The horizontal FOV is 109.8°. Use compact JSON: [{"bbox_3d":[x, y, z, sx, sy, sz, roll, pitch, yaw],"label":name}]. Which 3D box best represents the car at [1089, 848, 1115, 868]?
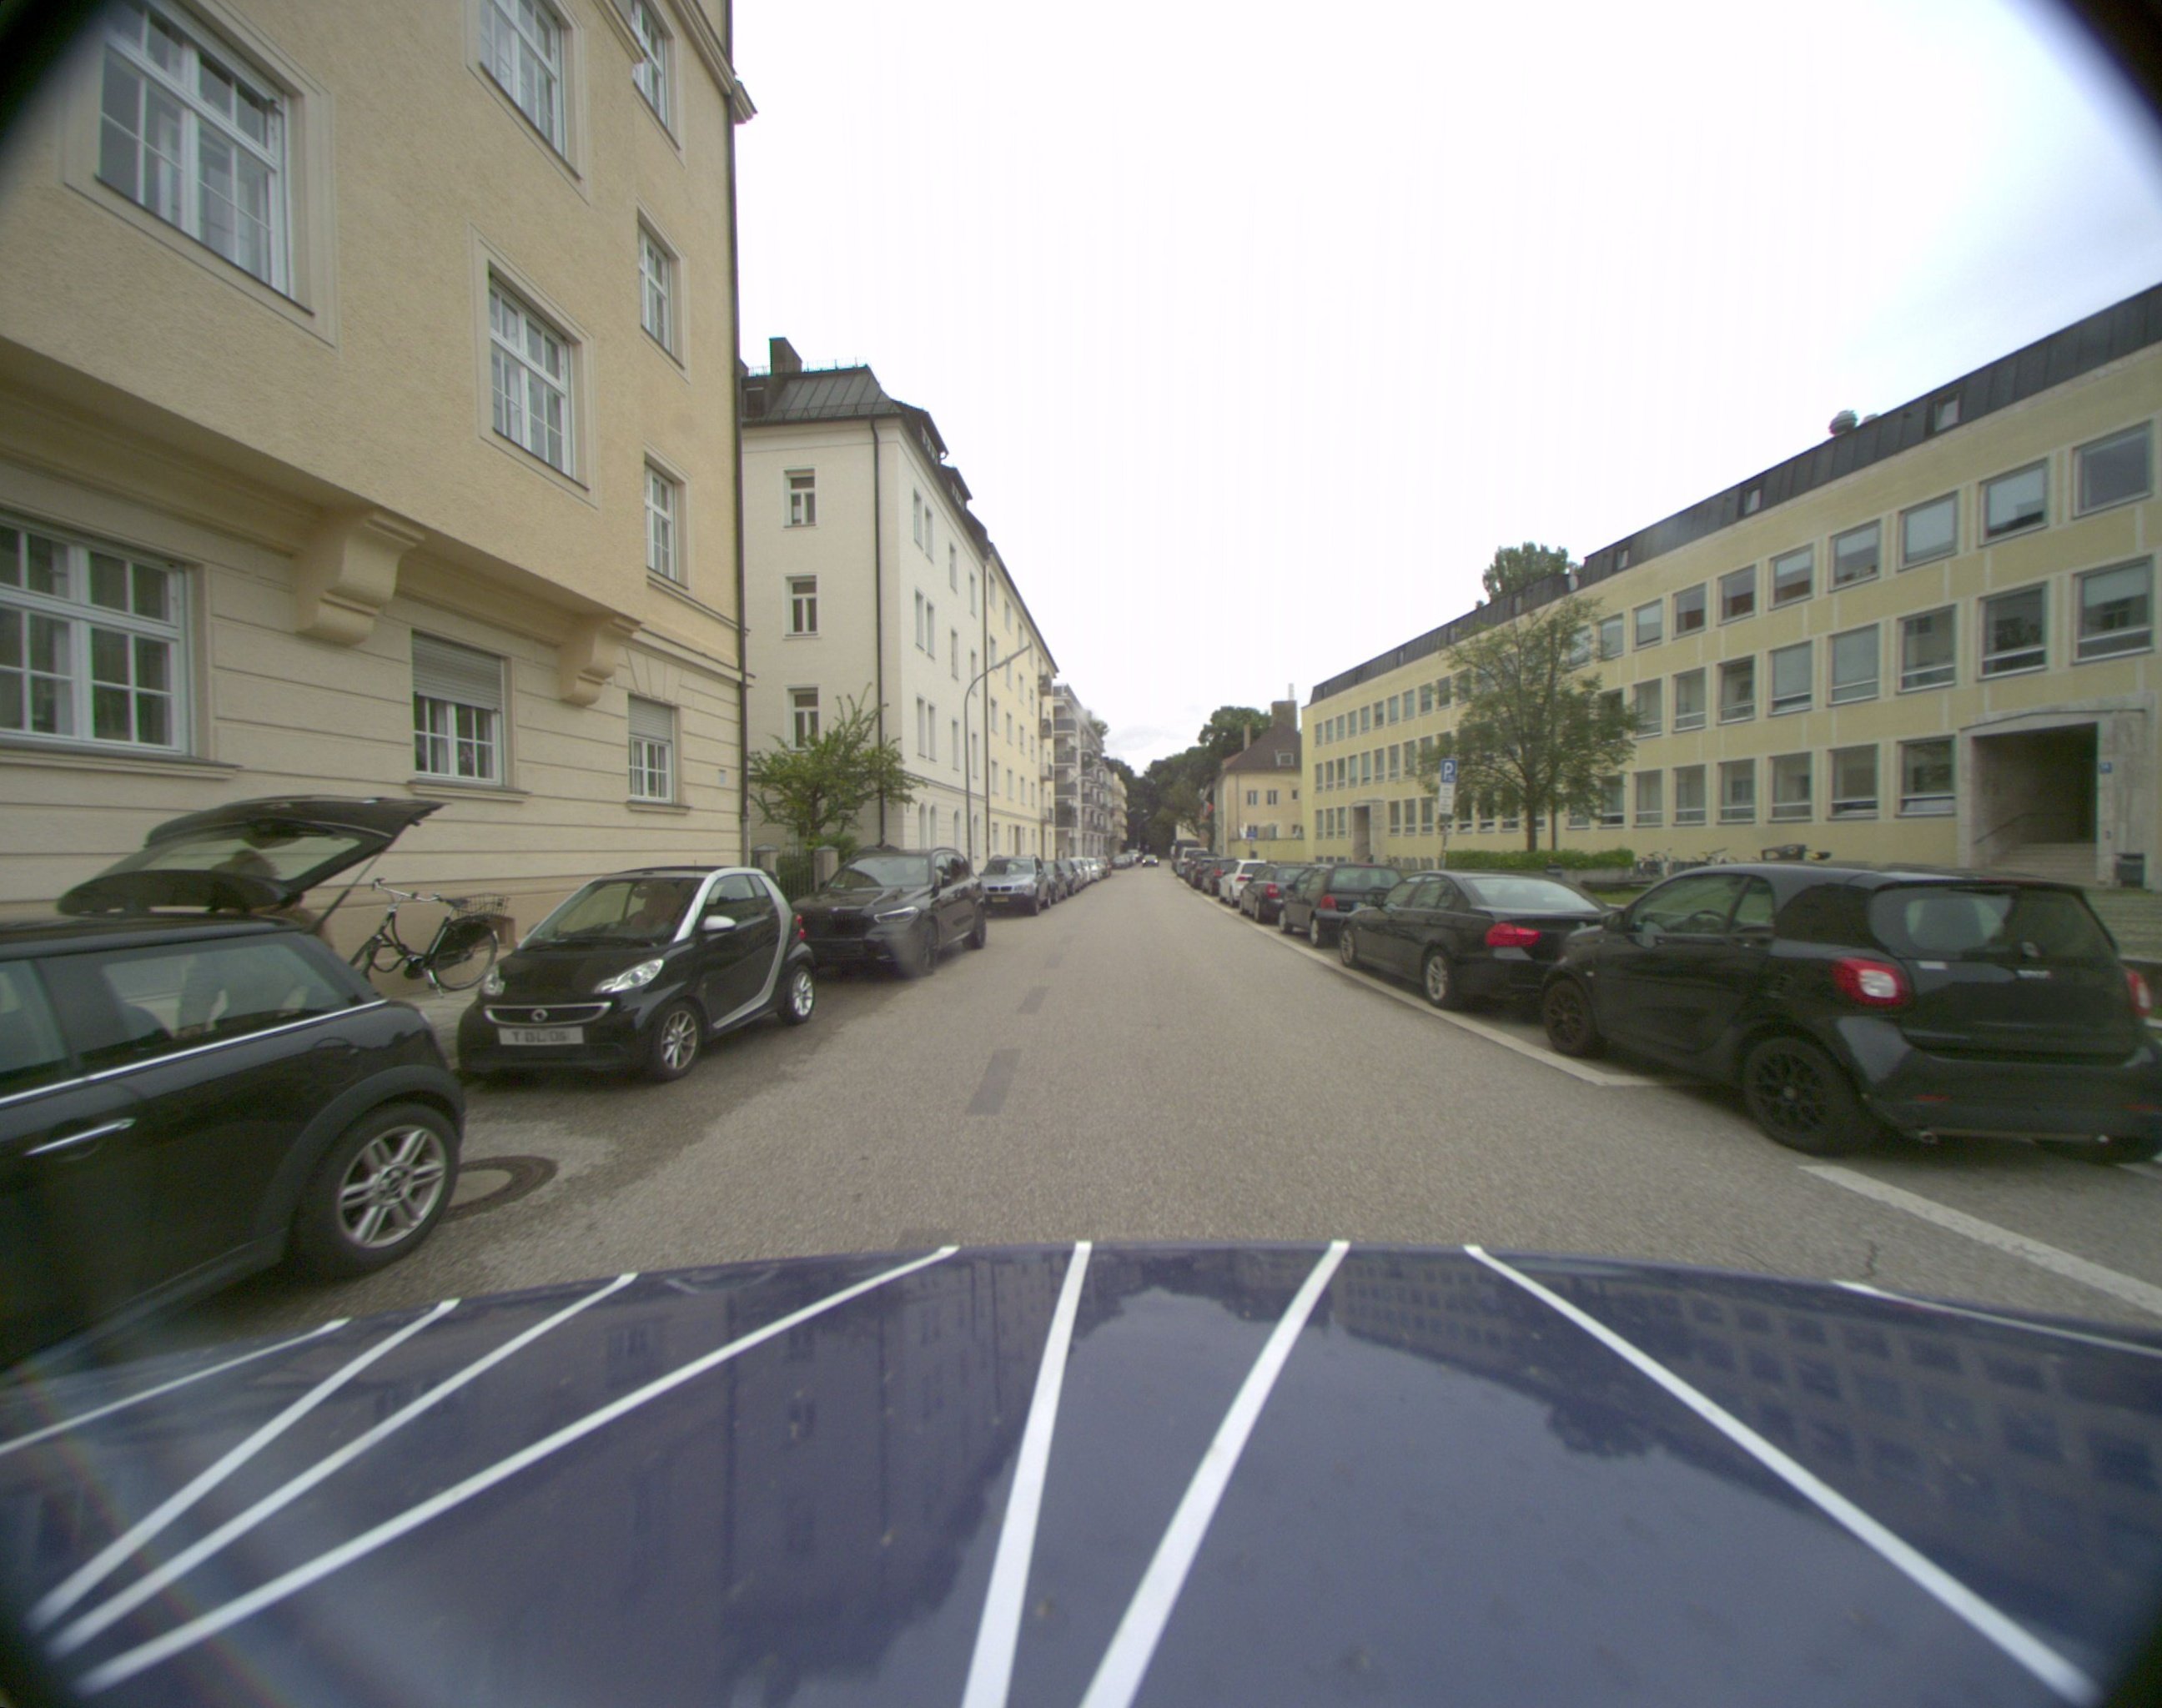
[{"bbox_3d":[1.617,0.309,57.518,1.658,1.421,3.757,-2,0,5],"label":"car"}]

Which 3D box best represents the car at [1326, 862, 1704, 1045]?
[{"bbox_3d":[4.427,0.876,8.728,1.778,1.457,4.466,1,1,0],"label":"car"}]

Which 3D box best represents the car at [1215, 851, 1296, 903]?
[{"bbox_3d":[5.382,0.659,23.933,1.745,1.414,4.294,1,1,3],"label":"car"}]

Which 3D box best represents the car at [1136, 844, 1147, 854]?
[{"bbox_3d":[10.714,-0.888,134.235,1.770,1.607,4.264,-1,0,6],"label":"car"}]

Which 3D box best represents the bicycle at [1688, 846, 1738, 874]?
[{"bbox_3d":[22.950,0.222,27.600,1.609,0.939,0.502,-3,1,-13],"label":"bicycle"}]

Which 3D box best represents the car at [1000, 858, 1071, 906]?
[{"bbox_3d":[-1.494,0.928,26.494,1.831,1.441,4.085,-2,0,6],"label":"car"}]

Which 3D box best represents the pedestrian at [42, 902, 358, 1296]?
[{"bbox_3d":[-3.774,0.998,3.306,0.630,1.520,0.578,-2,1,4],"label":"pedestrian"}]

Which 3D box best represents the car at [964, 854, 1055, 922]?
[{"bbox_3d":[-1.918,0.863,21.756,1.850,1.654,4.499,-1,1,4],"label":"car"}]

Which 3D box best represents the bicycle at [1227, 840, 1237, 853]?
[{"bbox_3d":[14.190,-0.711,71.443,0.804,1.226,1.869,-1,1,6],"label":"bicycle"}]

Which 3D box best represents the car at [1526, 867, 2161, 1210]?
[{"bbox_3d":[4.473,0.866,4.882,1.523,1.457,2.886,1,1,0],"label":"car"}]

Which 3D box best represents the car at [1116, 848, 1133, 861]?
[{"bbox_3d":[4.917,0.044,85.790,1.620,1.458,3.748,-2,0,6],"label":"car"}]

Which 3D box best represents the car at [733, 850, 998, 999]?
[{"bbox_3d":[-2.897,0.852,11.696,2.174,1.729,5.025,-2,0,6],"label":"car"}]

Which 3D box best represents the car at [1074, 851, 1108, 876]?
[{"bbox_3d":[0.652,0.535,46.757,1.728,1.421,4.295,-2,0,5],"label":"car"}]

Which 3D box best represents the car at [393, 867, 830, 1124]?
[{"bbox_3d":[-3.520,0.941,6.364,1.517,1.546,3.020,-2,0,6],"label":"car"}]

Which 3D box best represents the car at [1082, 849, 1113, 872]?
[{"bbox_3d":[1.197,0.415,52.557,1.777,1.421,4.616,-2,0,5],"label":"car"}]

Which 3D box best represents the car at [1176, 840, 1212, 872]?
[{"bbox_3d":[7.377,0.105,50.101,1.919,1.948,4.962,1,0,4],"label":"car"}]

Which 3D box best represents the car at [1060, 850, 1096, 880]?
[{"bbox_3d":[-0.127,0.553,41.966,1.654,1.535,3.994,-2,0,3],"label":"car"}]

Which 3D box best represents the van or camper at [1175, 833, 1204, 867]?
[{"bbox_3d":[8.958,-0.325,63.021,2.297,2.636,5.563,1,1,7],"label":"van or camper"}]

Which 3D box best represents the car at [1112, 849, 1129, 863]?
[{"bbox_3d":[4.198,0.199,80.172,1.775,1.467,4.218,-1,0,4],"label":"car"}]

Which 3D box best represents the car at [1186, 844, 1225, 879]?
[{"bbox_3d":[6.493,0.351,39.916,1.718,1.680,4.142,1,1,5],"label":"car"}]

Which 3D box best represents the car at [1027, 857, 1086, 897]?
[{"bbox_3d":[-0.937,0.910,31.924,1.879,1.441,4.679,-2,0,5],"label":"car"}]

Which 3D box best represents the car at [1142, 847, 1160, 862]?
[{"bbox_3d":[7.988,0.054,86.324,1.998,1.521,4.002,-2,0,6],"label":"car"}]

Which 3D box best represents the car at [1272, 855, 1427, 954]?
[{"bbox_3d":[4.700,0.800,13.848,1.634,1.486,3.604,1,1,2],"label":"car"}]

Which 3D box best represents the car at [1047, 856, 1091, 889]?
[{"bbox_3d":[-0.529,0.860,36.791,1.728,1.441,4.188,-2,0,4],"label":"car"}]

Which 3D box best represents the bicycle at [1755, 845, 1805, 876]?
[{"bbox_3d":[23.213,0.204,25.233,1.610,0.939,0.502,-3,1,-18],"label":"bicycle"}]

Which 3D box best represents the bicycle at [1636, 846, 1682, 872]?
[{"bbox_3d":[22.703,0.177,29.855,1.609,0.939,0.502,-3,1,-13],"label":"bicycle"}]

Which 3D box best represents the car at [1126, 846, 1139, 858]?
[{"bbox_3d":[6.956,-0.343,102.629,1.668,1.459,4.376,-1,2,4],"label":"car"}]

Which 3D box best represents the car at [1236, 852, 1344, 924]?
[{"bbox_3d":[4.872,0.722,18.305,1.634,1.486,4.276,0,1,3],"label":"car"}]

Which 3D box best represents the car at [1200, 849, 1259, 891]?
[{"bbox_3d":[5.751,0.576,29.824,1.634,1.486,4.101,1,1,2],"label":"car"}]

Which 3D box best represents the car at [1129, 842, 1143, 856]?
[{"bbox_3d":[8.513,-0.743,117.380,1.857,2.019,4.785,-2,0,6],"label":"car"}]

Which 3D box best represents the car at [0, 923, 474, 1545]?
[{"bbox_3d":[-3.540,1.040,1.466,1.634,1.409,3.680,-2,0,2],"label":"car"}]

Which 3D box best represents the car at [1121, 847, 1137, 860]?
[{"bbox_3d":[5.757,-0.074,90.741,1.795,1.473,4.604,-2,1,5],"label":"car"}]

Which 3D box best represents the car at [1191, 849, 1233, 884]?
[{"bbox_3d":[5.919,0.533,34.693,1.634,1.486,3.821,0,1,5],"label":"car"}]

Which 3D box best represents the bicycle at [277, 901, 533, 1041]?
[{"bbox_3d":[-6.694,1.091,7.719,0.503,1.043,2.138,2,1,7],"label":"bicycle"}]

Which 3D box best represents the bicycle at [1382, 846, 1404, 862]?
[{"bbox_3d":[19.973,0.009,48.657,1.413,0.939,0.413,-3,1,-23],"label":"bicycle"}]

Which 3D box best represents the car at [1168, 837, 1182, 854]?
[{"bbox_3d":[14.512,-1.317,117.748,2.116,2.462,5.233,0,1,6],"label":"car"}]

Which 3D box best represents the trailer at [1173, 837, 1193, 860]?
[{"bbox_3d":[11.425,-0.653,85.310,1.979,2.457,4.579,2,1,10],"label":"trailer"}]
